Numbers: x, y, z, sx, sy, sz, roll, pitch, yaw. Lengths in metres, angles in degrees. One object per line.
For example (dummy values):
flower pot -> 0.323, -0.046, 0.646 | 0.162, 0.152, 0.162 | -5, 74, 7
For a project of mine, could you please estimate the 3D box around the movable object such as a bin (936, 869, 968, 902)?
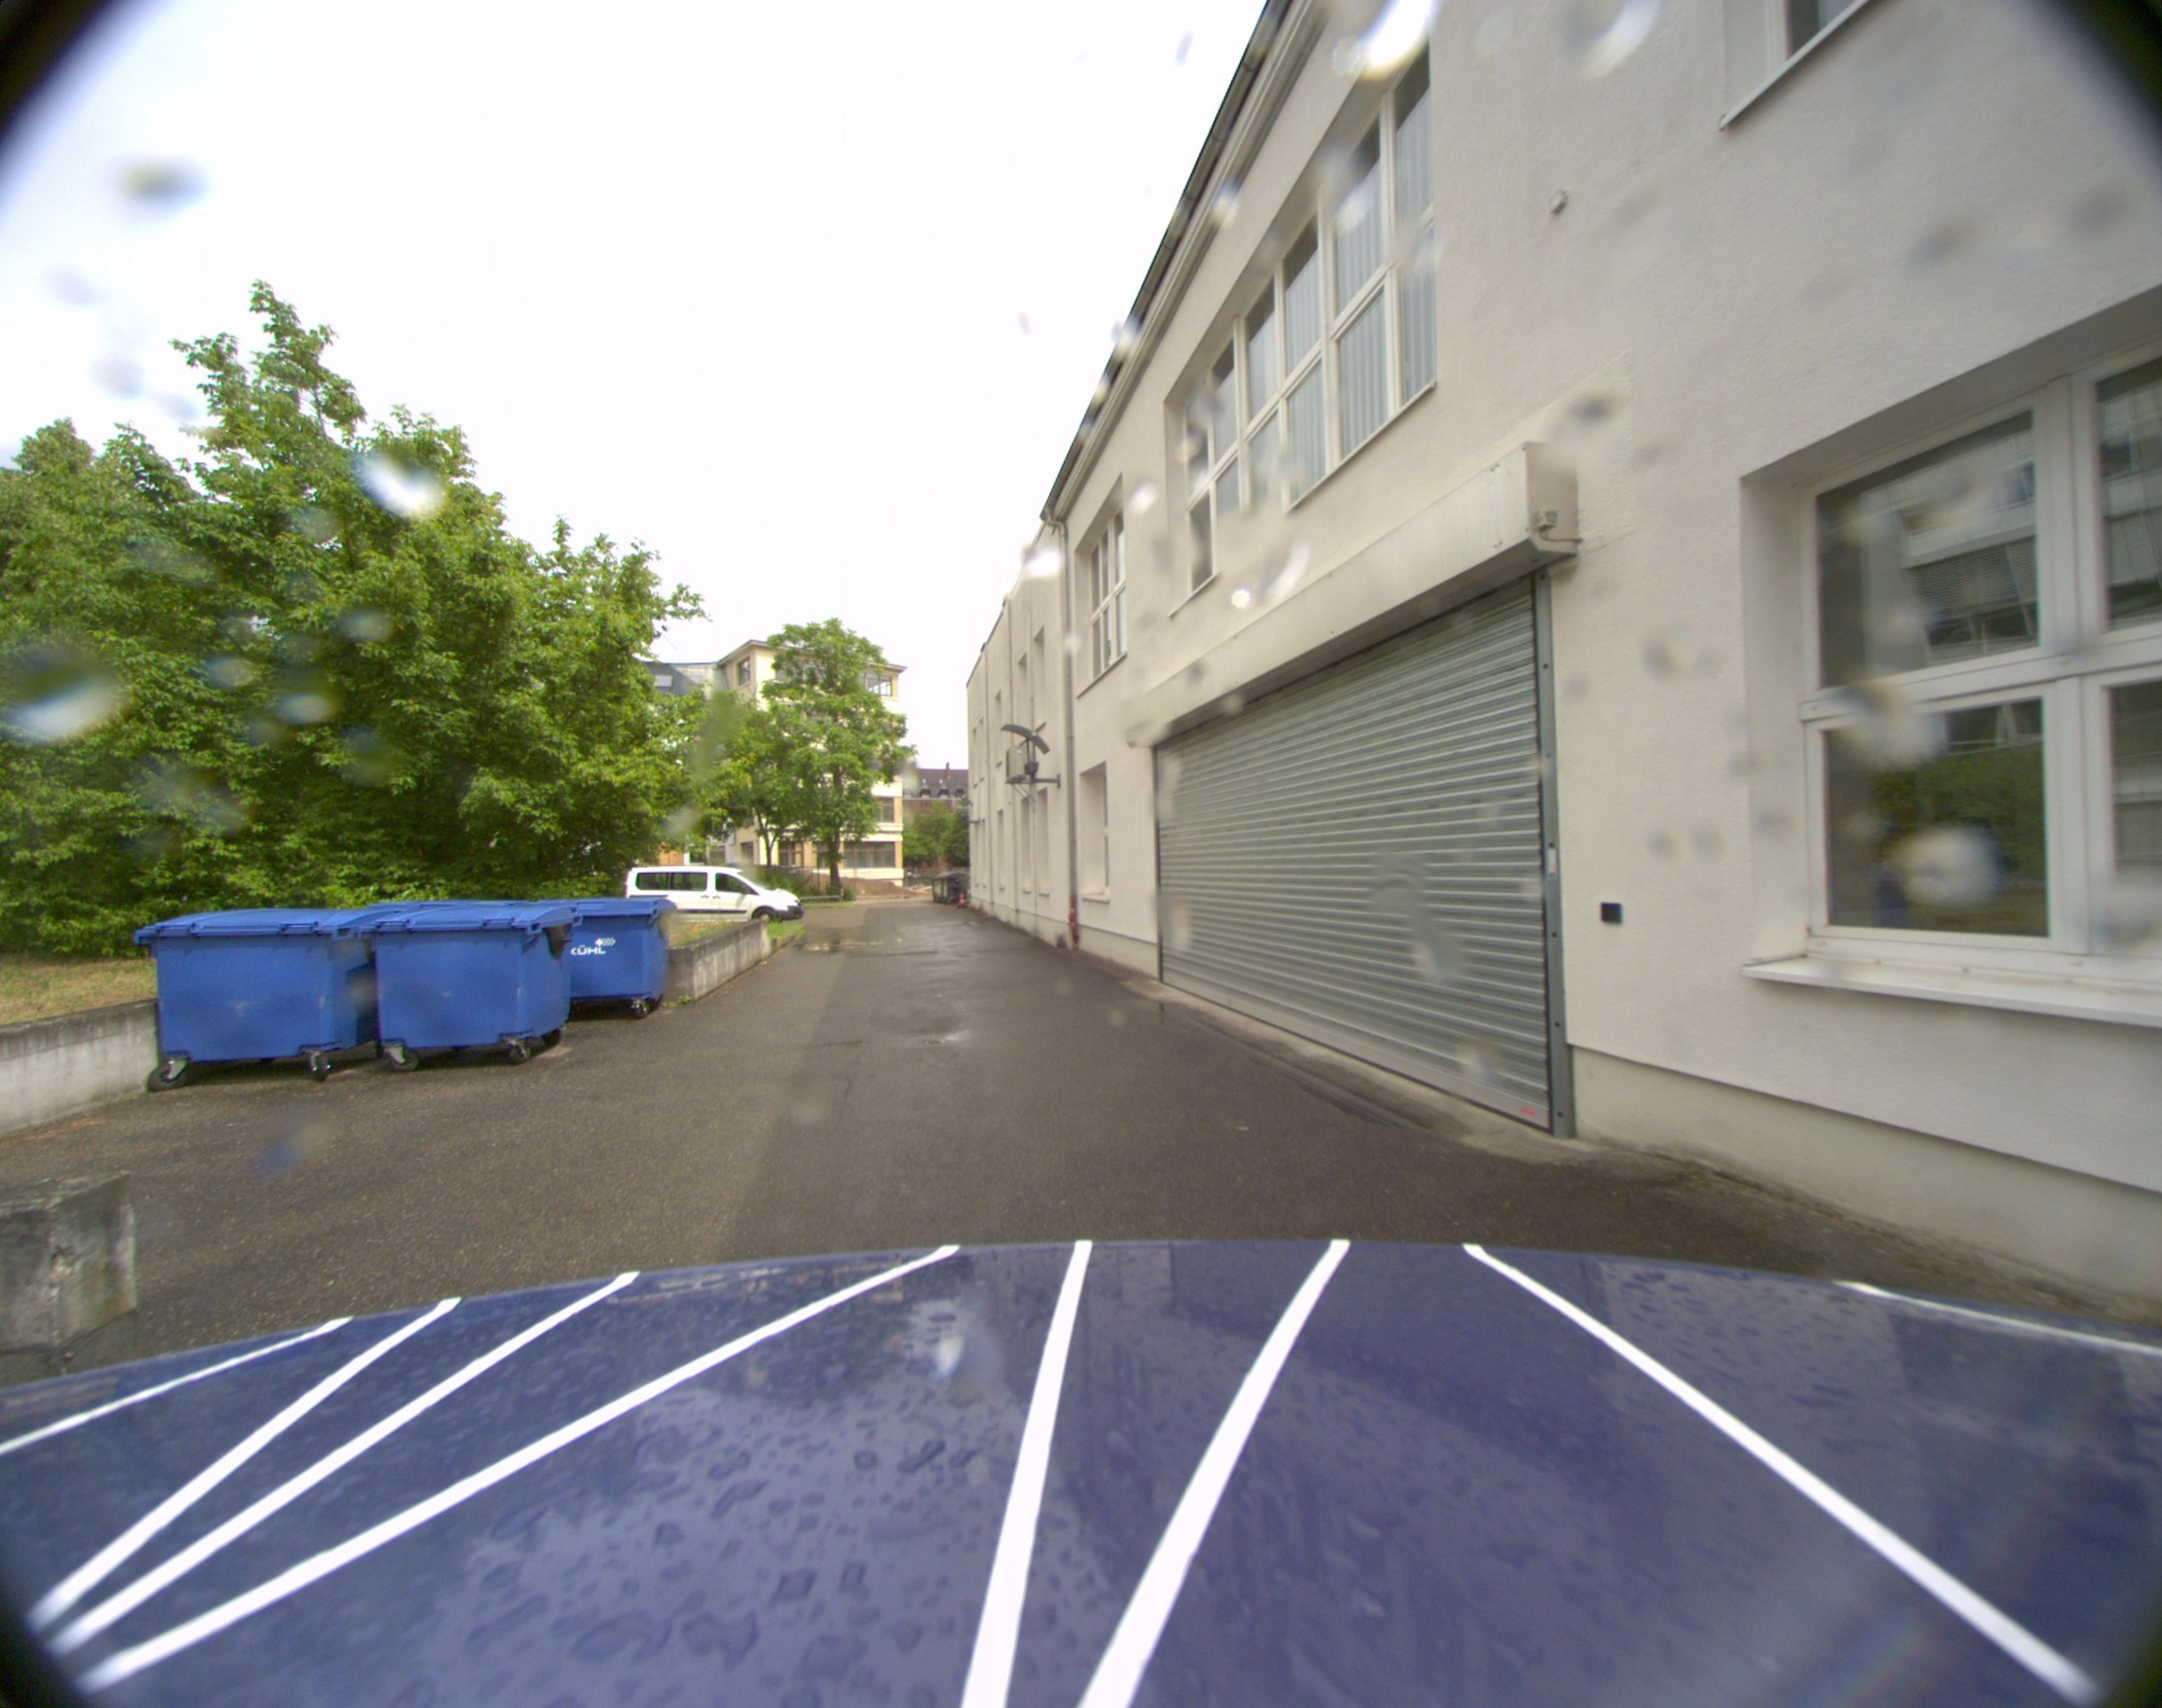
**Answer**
movable object such as a bin -> -6.268, 1.518, 36.816 | 1.364, 1.462, 1.350 | -3, -1, -15

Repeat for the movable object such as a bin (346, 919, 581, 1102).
movable object such as a bin -> -5.191, 1.260, 6.514 | 1.234, 1.309, 1.054 | -1, -1, -15

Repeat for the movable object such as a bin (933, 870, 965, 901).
movable object such as a bin -> -6.653, 1.553, 38.213 | 1.364, 1.462, 1.463 | -3, -1, -15

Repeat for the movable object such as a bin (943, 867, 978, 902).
movable object such as a bin -> -5.379, 1.356, 33.843 | 1.364, 1.462, 1.364 | -3, -1, -15

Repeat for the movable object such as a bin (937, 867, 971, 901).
movable object such as a bin -> -5.929, 1.400, 35.435 | 1.364, 1.462, 1.364 | -3, -1, -15

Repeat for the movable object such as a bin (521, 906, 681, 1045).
movable object such as a bin -> -5.230, 1.278, 8.388 | 1.178, 1.309, 1.054 | -3, -1, -15

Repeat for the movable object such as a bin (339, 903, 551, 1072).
movable object such as a bin -> -6.467, 1.297, 7.839 | 1.280, 1.474, 1.100 | -3, -1, -15

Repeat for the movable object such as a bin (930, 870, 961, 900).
movable object such as a bin -> -7.094, 1.611, 39.774 | 1.414, 1.462, 1.559 | -3, -1, -15

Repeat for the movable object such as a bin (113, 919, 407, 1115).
movable object such as a bin -> -6.503, 1.227, 6.139 | 1.234, 1.309, 1.054 | -1, -1, -15

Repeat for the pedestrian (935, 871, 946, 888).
pedestrian -> -12.712, 2.312, 68.702 | 0.623, 1.499, 0.650 | -2, -1, 35

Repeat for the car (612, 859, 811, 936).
car -> -10.898, 1.236, 22.813 | 4.954, 2.002, 1.998 | -2, 0, -12
